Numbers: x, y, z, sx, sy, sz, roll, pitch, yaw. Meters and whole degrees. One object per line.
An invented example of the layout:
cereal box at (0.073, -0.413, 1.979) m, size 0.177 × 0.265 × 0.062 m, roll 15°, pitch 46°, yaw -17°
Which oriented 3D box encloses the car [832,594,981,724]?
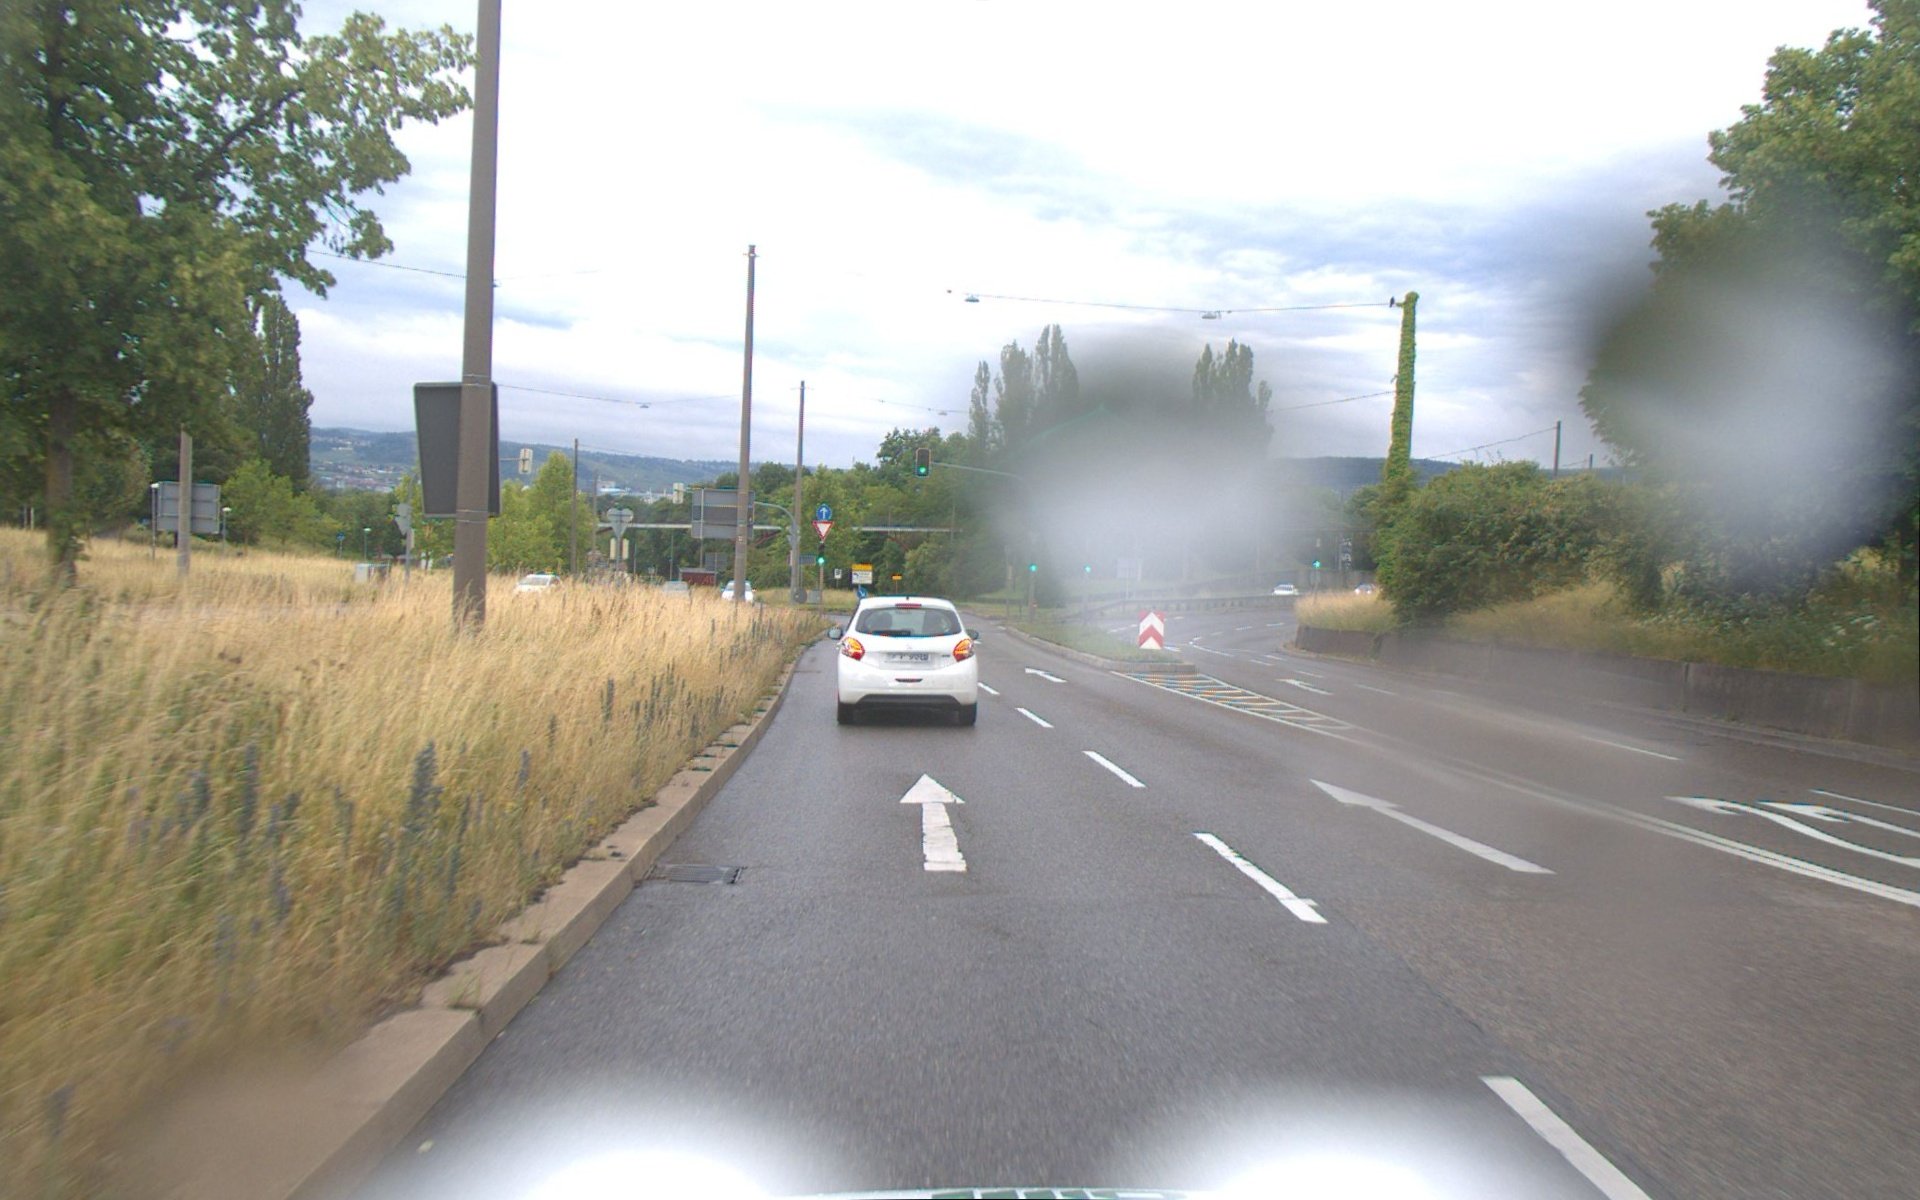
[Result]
car at (-0.627, 0.682, 20.566) m, size 1.674 × 1.465 × 3.690 m, roll 0°, pitch 0°, yaw -1°

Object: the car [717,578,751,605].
car at (-12.531, -0.434, 91.961) m, size 1.704 × 1.397 × 3.995 m, roll 2°, pitch -1°, yaw -6°

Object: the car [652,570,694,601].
car at (-15.492, -0.766, 89.334) m, size 1.858 × 1.564 × 3.995 m, roll 2°, pitch -1°, yaw -5°

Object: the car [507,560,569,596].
car at (-21.156, -1.060, 83.135) m, size 1.847 × 1.639 × 4.676 m, roll 2°, pitch -1°, yaw 0°
